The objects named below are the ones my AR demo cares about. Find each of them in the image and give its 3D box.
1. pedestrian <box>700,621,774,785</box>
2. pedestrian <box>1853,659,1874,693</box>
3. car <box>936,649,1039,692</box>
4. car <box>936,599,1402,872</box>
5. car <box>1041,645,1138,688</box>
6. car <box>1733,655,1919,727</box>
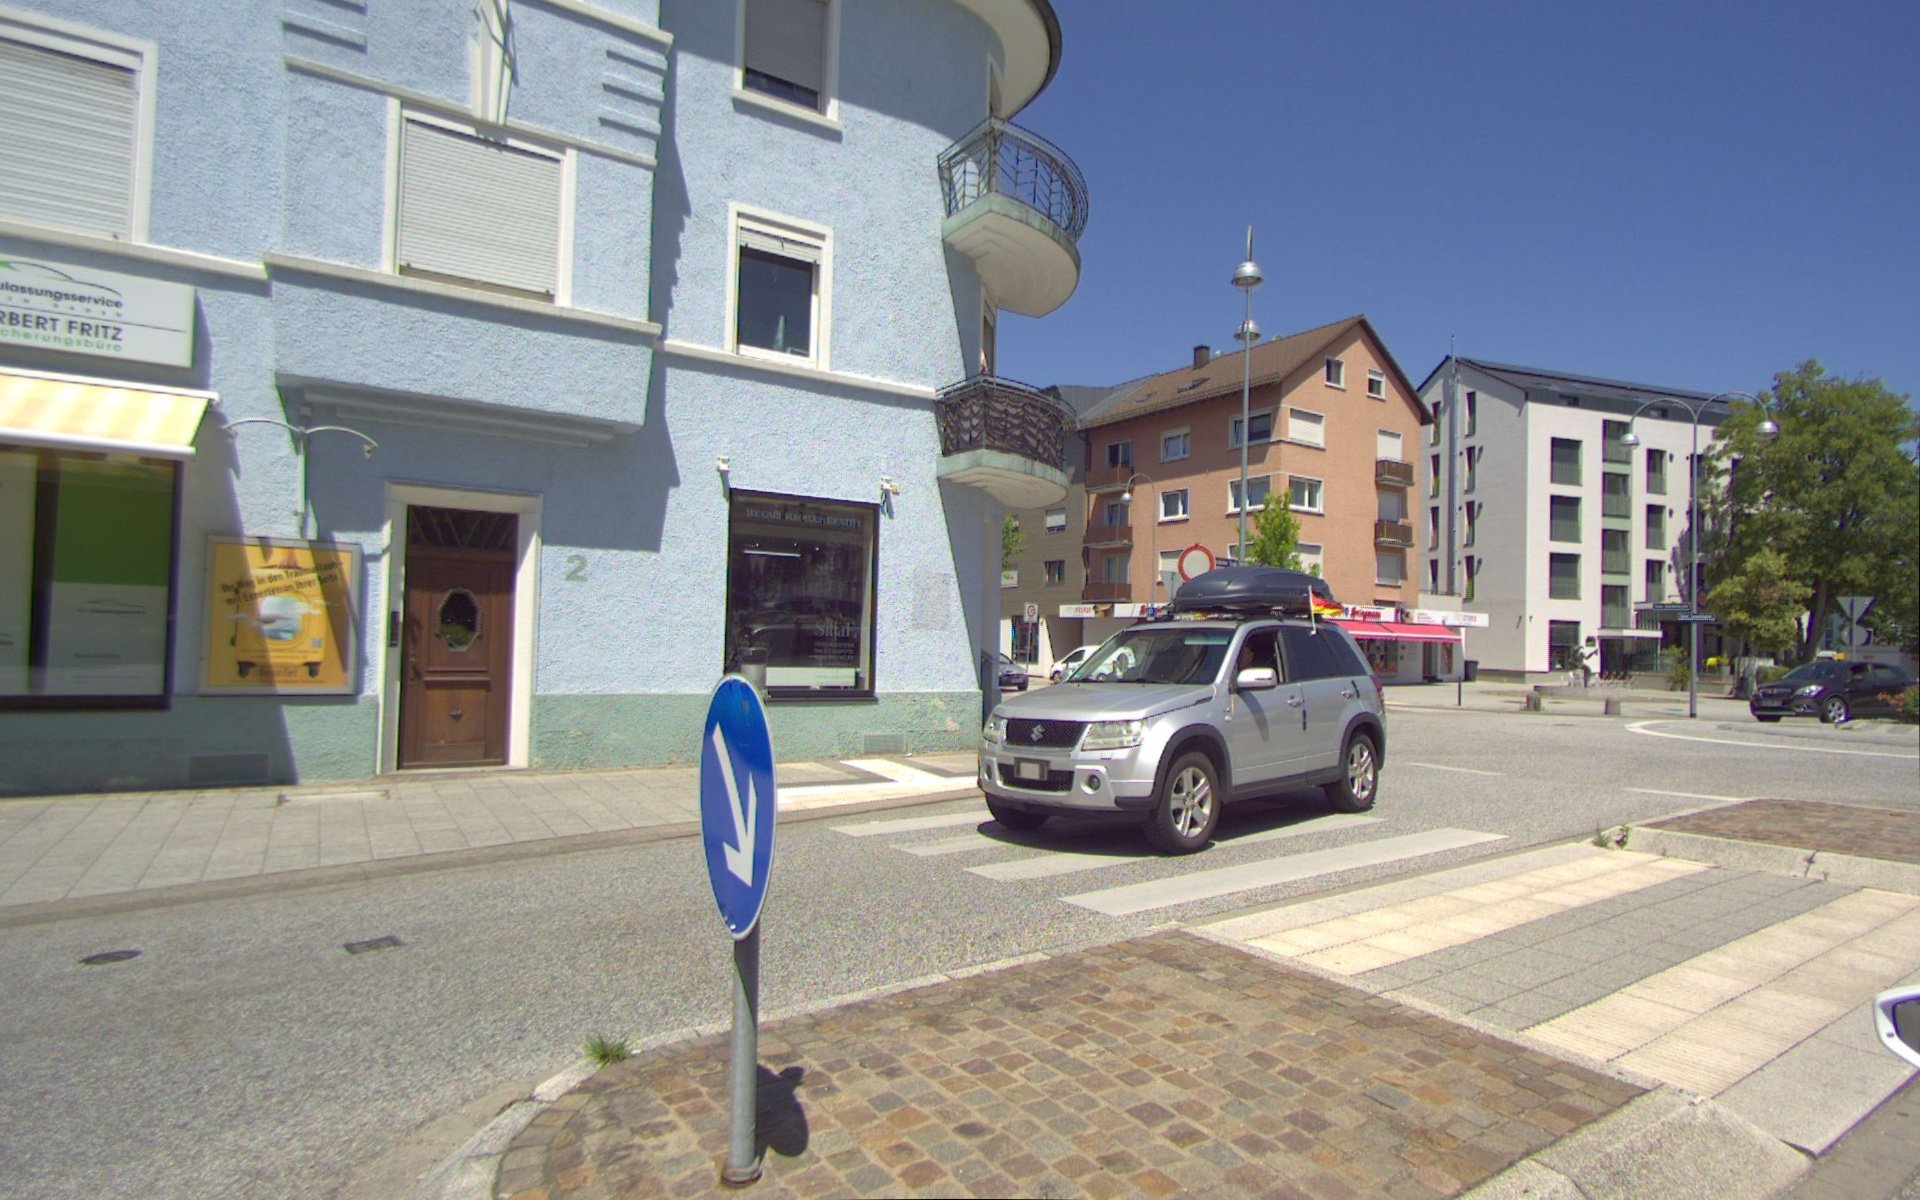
[{"bbox_3d":[-2.250,1.025,10.184,0.535,1.606,0.515,0,-3,12],"label":"pedestrian"},{"bbox_3d":[43.808,3.691,48.701,0.553,1.596,0.534,2,-2,-19],"label":"pedestrian"},{"bbox_3d":[0.964,2.541,36.673,1.762,1.421,3.911,3,-3,-35],"label":"car"},{"bbox_3d":[1.935,0.972,8.449,4.174,1.710,1.814,3,-4,-44],"label":"car"},{"bbox_3d":[5.633,2.861,43.905,3.946,1.772,1.791,-2,-4,45],"label":"car"},{"bbox_3d":[21.990,2.285,25.380,3.990,1.664,1.800,2,-3,-13],"label":"car"}]
